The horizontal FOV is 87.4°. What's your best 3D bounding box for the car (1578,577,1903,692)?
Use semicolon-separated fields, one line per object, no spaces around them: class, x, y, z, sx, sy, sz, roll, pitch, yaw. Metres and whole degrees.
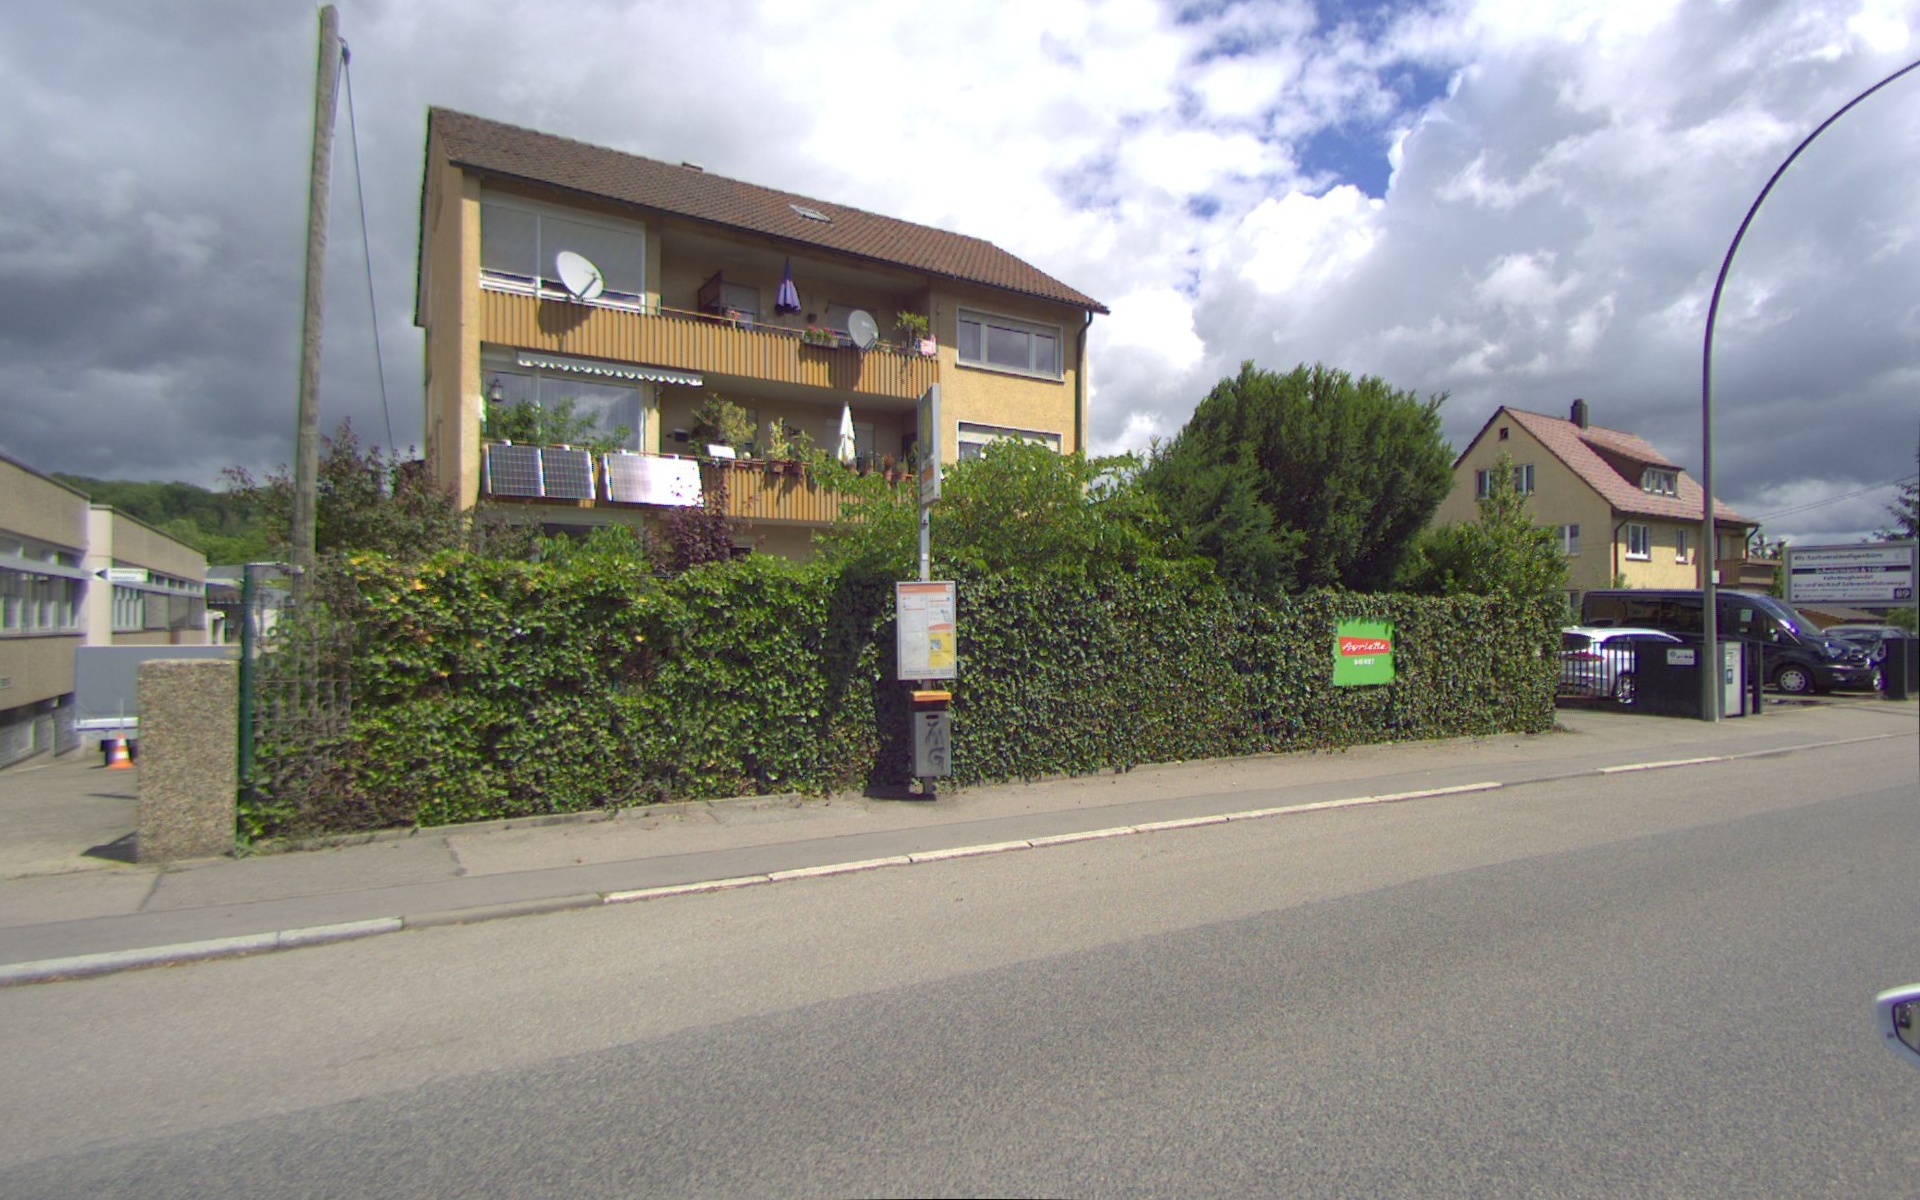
car;19.329;0.853;25.288;2.448;2.529;6.009;1;-2;-30

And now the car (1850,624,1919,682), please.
car;27.237;1.469;28.382;4.223;1.526;2.141;1;-2;-34

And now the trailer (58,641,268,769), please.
trailer;-13.714;1.888;17.610;2.433;1.908;3.969;1;-8;-32

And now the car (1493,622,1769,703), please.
car;13.642;1.222;20.429;5.259;1.505;1.991;1;-2;-20

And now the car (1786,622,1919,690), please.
car;23.425;1.398;26.006;4.239;1.616;2.019;1;-2;-34

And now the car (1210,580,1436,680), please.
car;10.050;0.876;27.700;6.058;2.527;2.403;1;-3;-28
